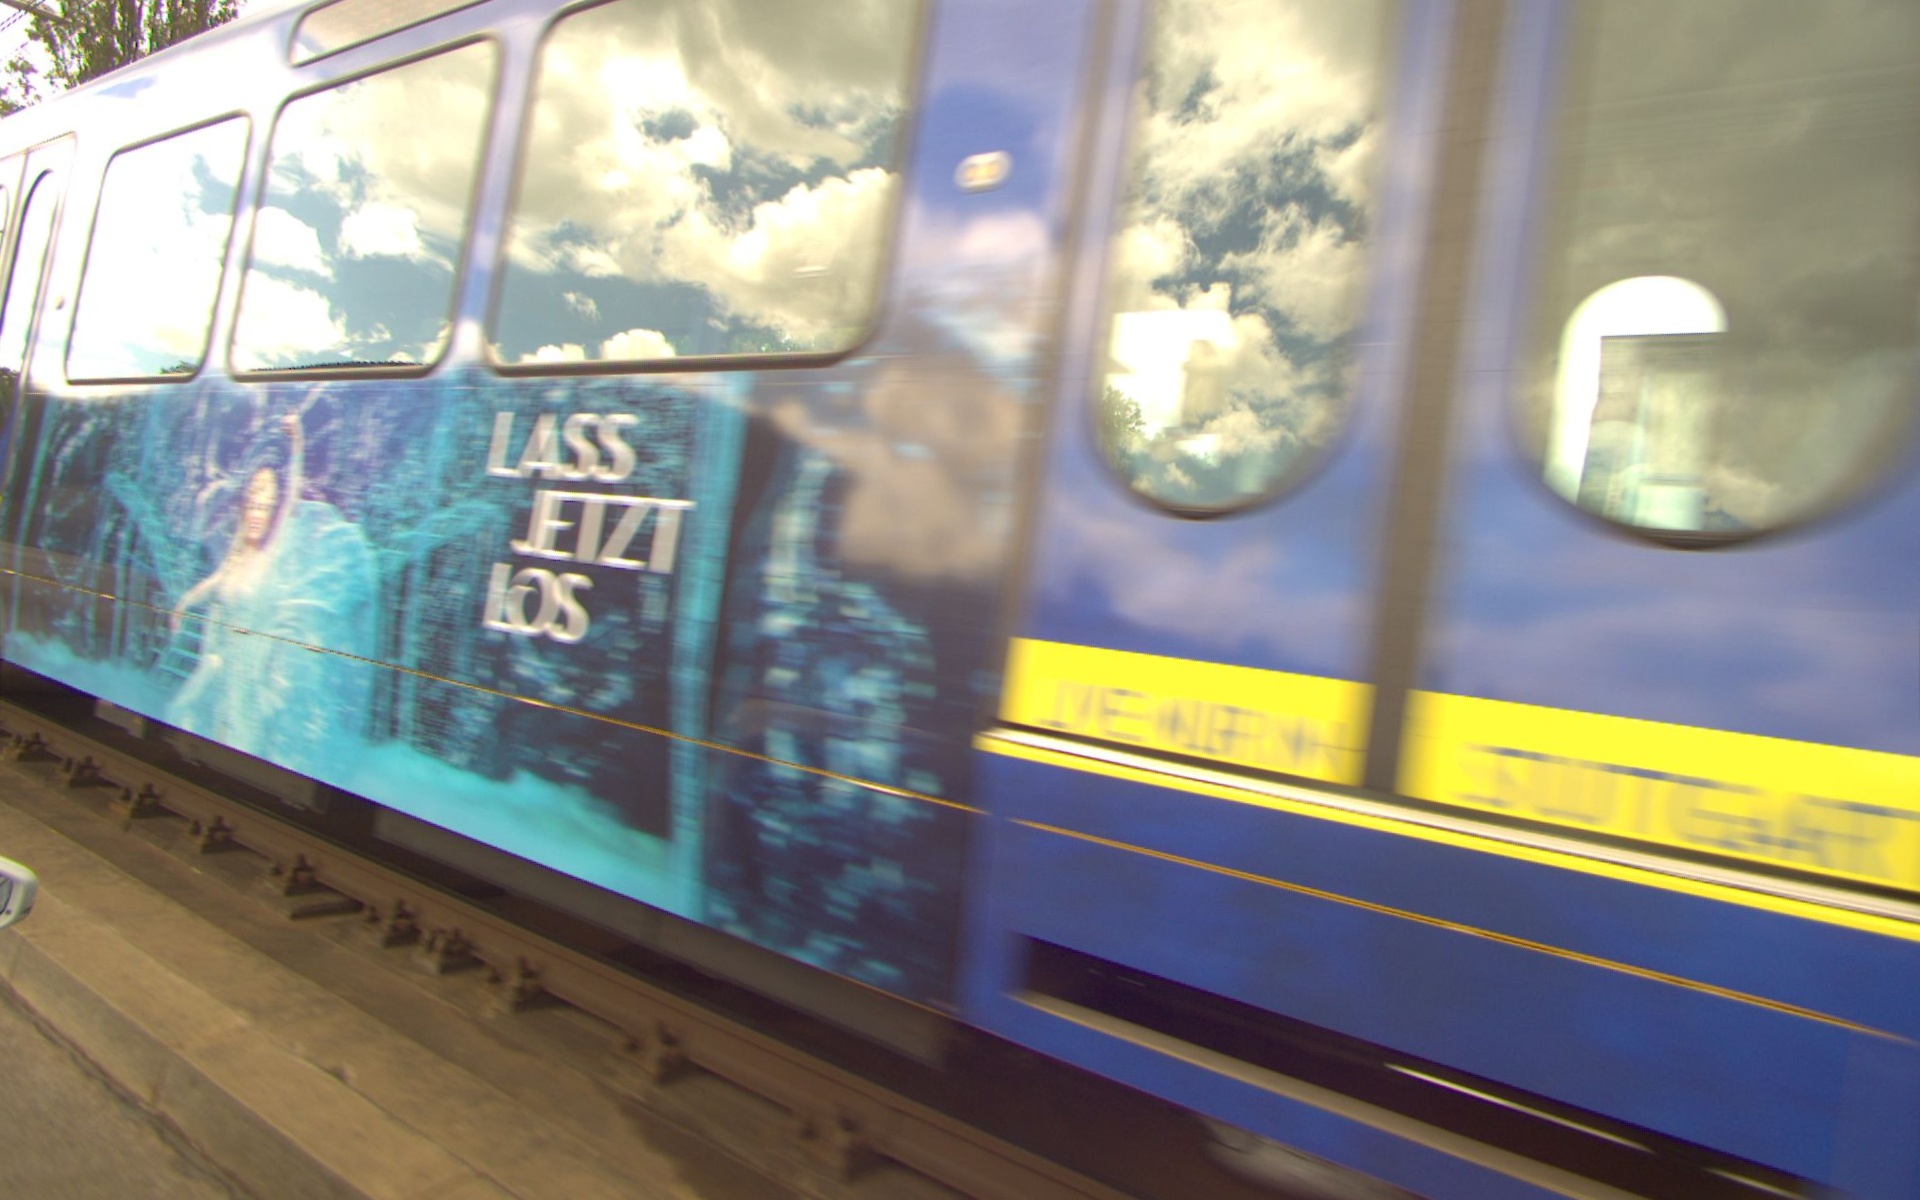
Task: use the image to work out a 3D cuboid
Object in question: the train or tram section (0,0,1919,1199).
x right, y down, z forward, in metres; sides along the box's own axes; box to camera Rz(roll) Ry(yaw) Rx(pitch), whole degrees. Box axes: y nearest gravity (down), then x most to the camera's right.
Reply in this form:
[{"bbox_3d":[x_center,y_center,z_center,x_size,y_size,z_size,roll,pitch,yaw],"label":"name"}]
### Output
[{"bbox_3d":[-1.503,-0.467,4.574,19.564,3.806,2.800,7,-2,32],"label":"train or tram section"}]
